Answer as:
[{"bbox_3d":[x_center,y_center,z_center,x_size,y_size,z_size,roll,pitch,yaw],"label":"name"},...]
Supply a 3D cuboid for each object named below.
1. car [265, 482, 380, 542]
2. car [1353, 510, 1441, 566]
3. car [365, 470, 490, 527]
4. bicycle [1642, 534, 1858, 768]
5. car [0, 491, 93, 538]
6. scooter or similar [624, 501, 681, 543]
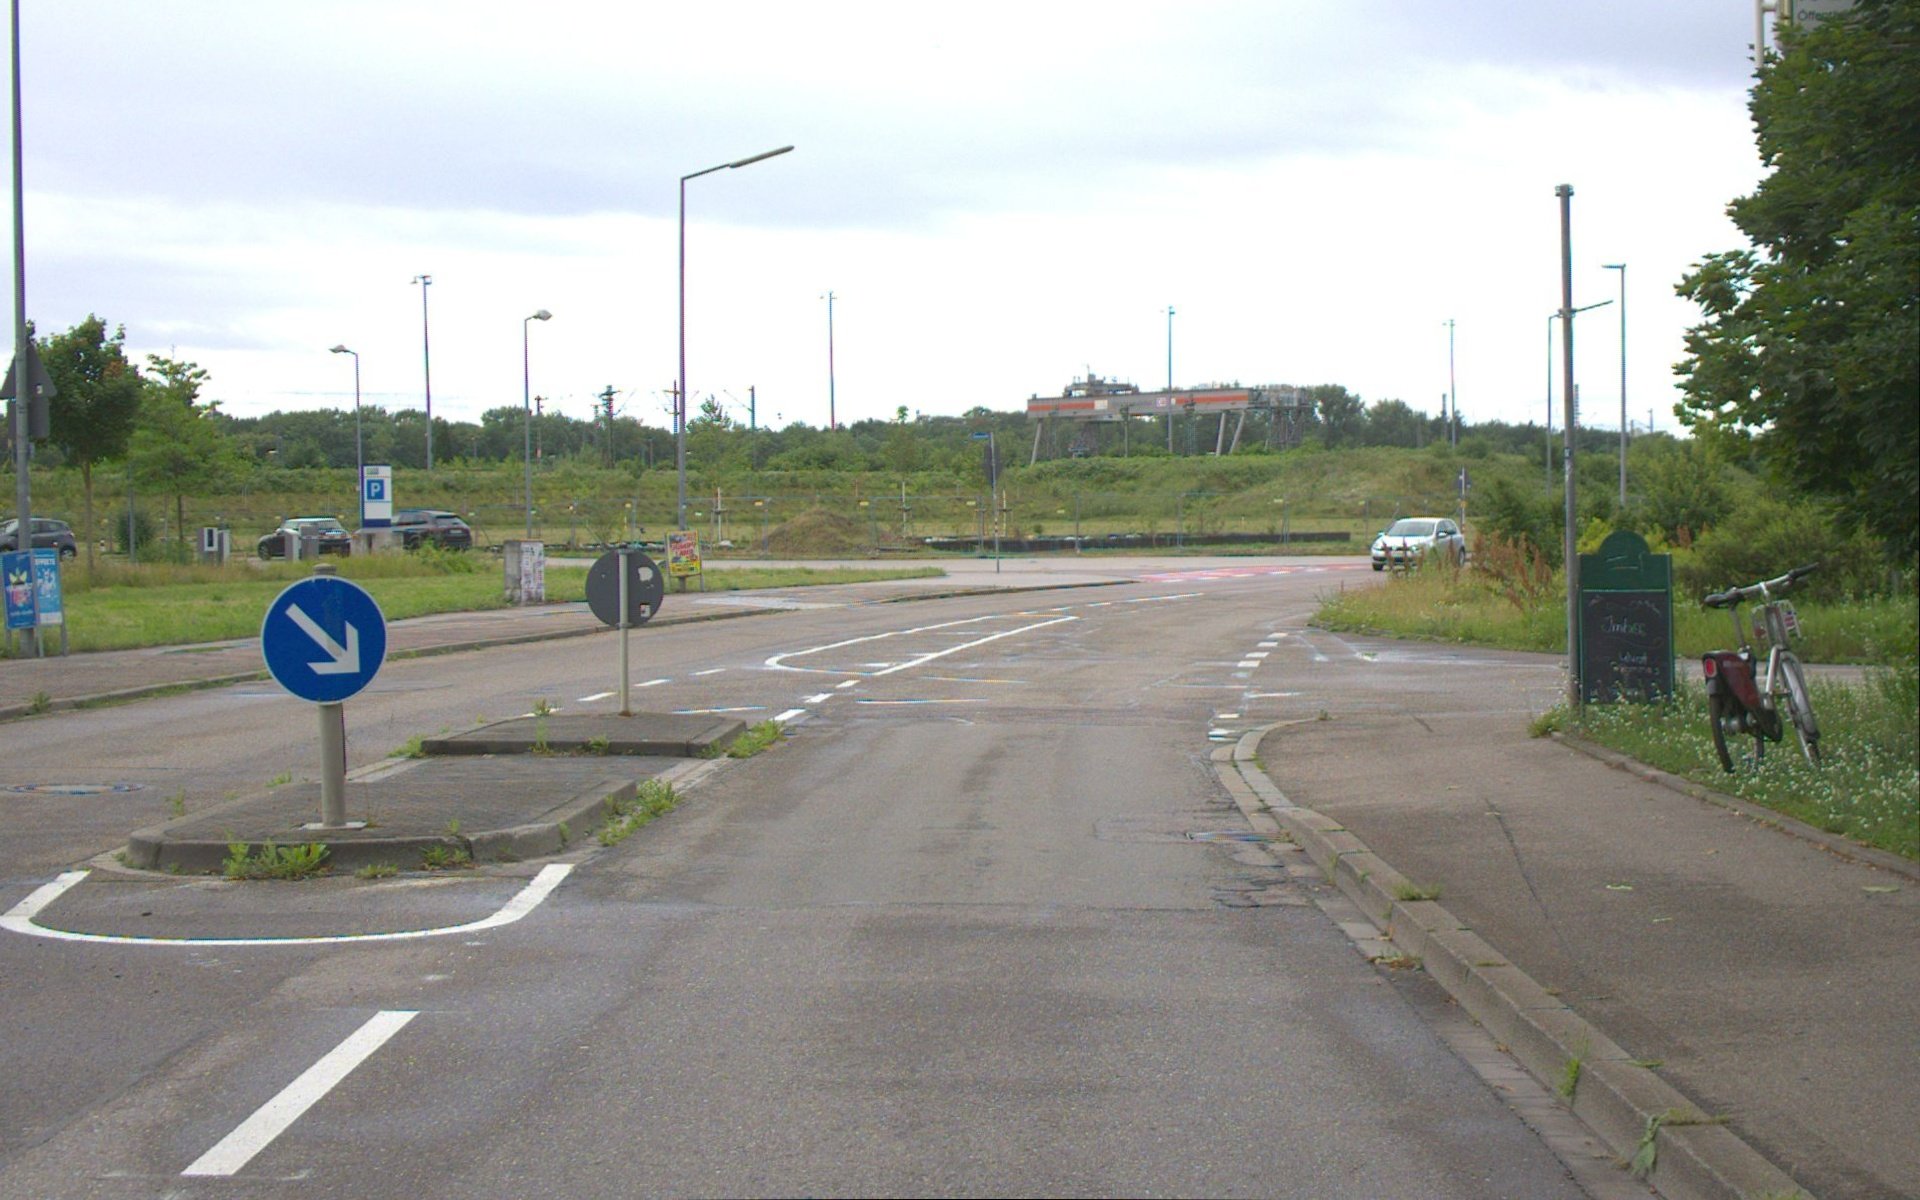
[{"bbox_3d":[-22.261,-3.075,120.038,1.995,2.006,3.998,-4,4,-44],"label":"car"},{"bbox_3d":[12.324,-1.754,96.818,1.673,1.456,4.053,2,3,18],"label":"car"},{"bbox_3d":[-17.959,-3.415,115.831,3.996,1.816,1.995,1,4,41],"label":"car"},{"bbox_3d":[4.133,0.234,17.882,0.796,1.107,1.950,0,2,22],"label":"bicycle"},{"bbox_3d":[-30.555,-2.798,112.477,1.697,1.437,3.992,1,4,38],"label":"car"},{"bbox_3d":[-8.590,-2.187,95.977,1.463,1.164,0.571,0,2,14],"label":"scooter or similar"}]
